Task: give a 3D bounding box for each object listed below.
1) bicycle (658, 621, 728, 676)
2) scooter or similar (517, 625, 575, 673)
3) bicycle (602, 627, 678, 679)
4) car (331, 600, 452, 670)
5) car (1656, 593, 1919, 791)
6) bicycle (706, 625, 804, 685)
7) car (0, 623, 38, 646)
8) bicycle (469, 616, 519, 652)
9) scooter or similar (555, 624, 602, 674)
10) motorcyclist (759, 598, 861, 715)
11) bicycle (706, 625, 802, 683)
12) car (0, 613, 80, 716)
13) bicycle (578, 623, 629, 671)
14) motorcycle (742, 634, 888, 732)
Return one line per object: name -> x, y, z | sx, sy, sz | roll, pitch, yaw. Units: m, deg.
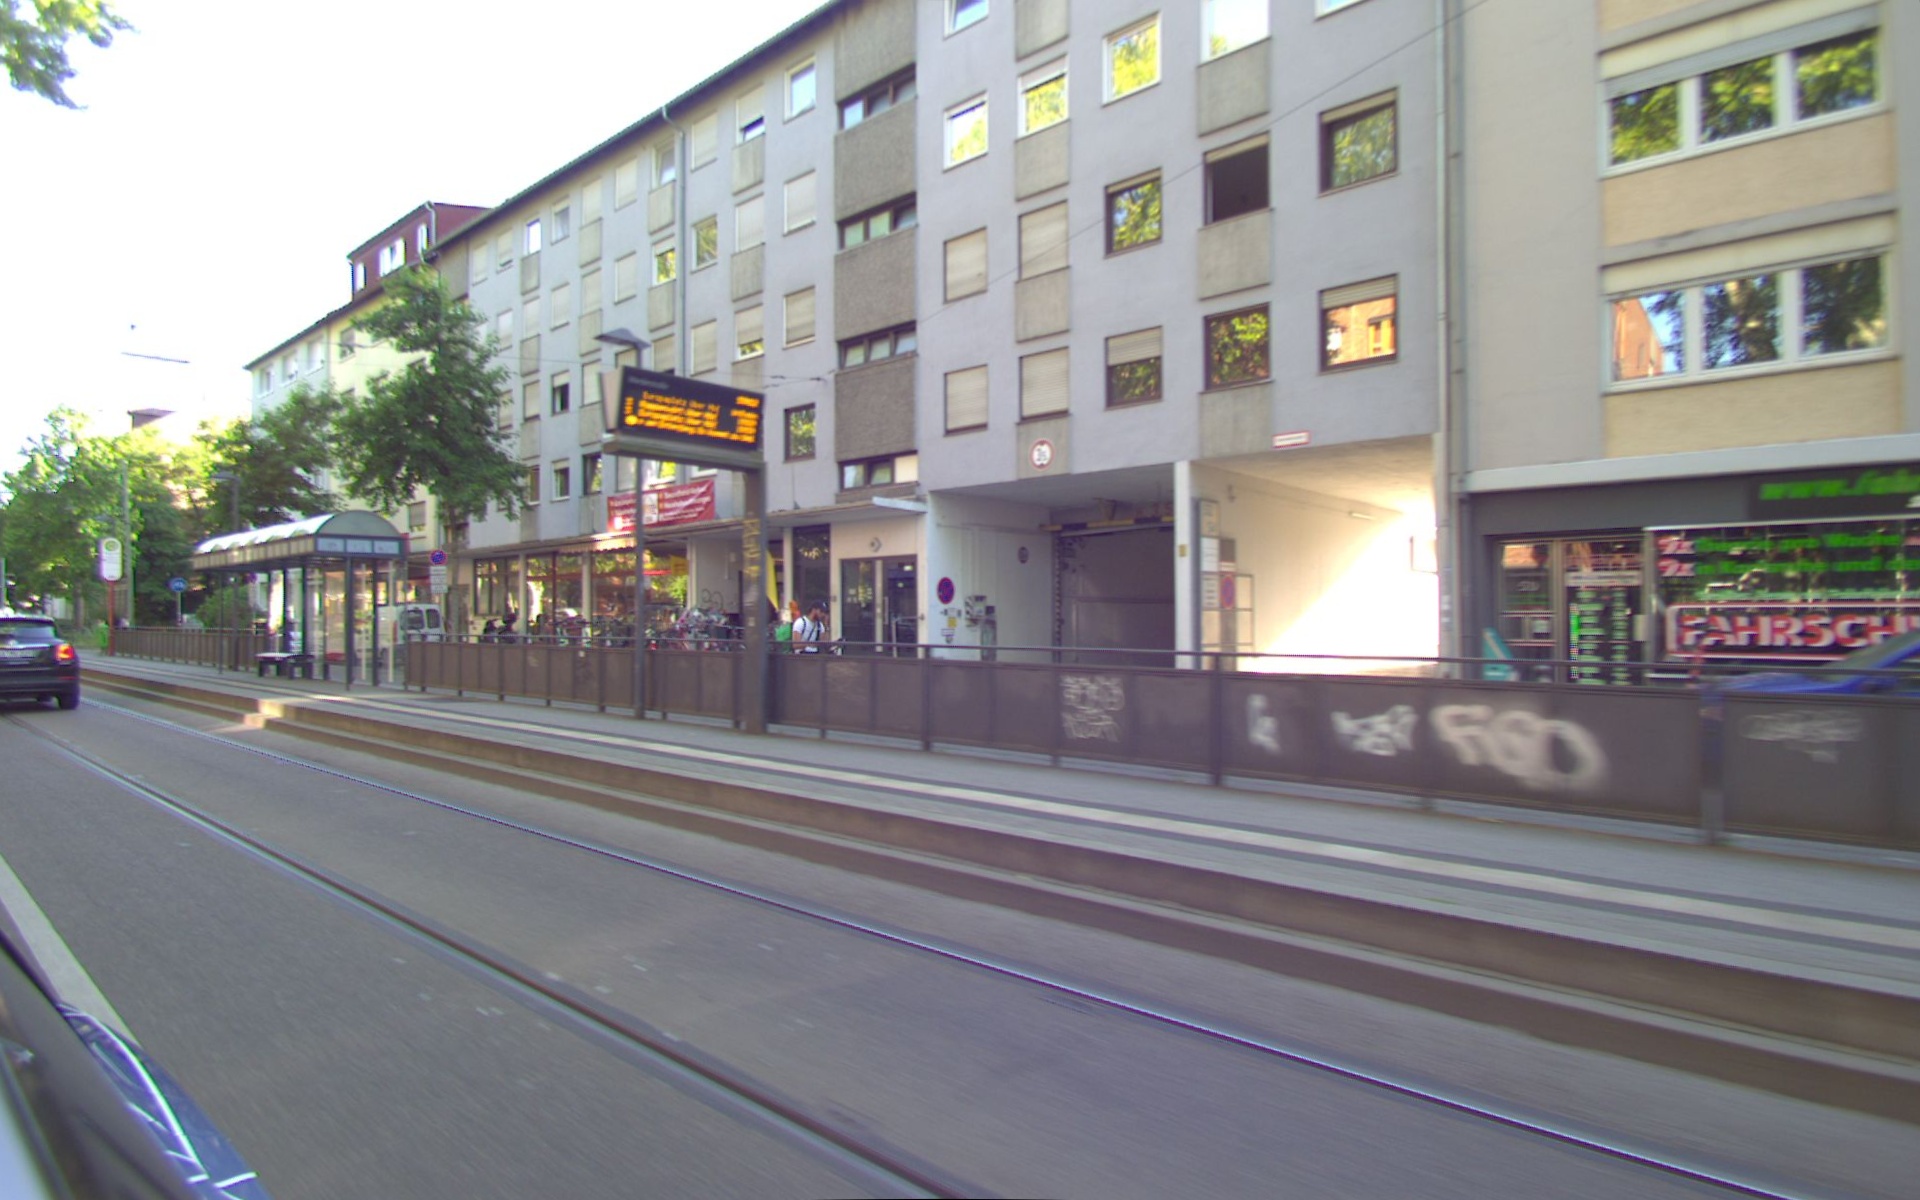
bicycle -> -5.875, 1.046, 22.256 | 1.748, 1.165, 0.488 | -1, -2, 36
scooter or similar -> -10.260, 1.214, 25.107 | 1.259, 1.183, 0.445 | 0, -2, 5
bicycle -> -7.415, 1.208, 23.417 | 2.033, 1.165, 0.565 | -1, -2, 36
car -> -16.932, 1.021, 30.086 | 4.046, 1.949, 1.785 | -1, -2, 40
car -> 8.110, 0.700, 7.865 | 4.280, 1.475, 1.776 | -1, -2, 41
bicycle -> -4.133, 1.095, 20.409 | 2.019, 1.165, 0.556 | -1, -2, 26
car -> -66.610, 2.432, 71.490 | 3.679, 1.541, 1.971 | -1, -2, 44
bicycle -> -15.574, 1.140, 33.787 | 2.033, 1.165, 0.565 | -1, -2, 36
scooter or similar -> -9.180, 1.159, 24.344 | 1.272, 1.183, 0.440 | -1, -2, 36
motorcyclist -> -1.955, 0.715, 13.200 | 1.015, 1.451, 0.864 | -1, -2, 40
bicycle -> -4.253, 1.095, 20.837 | 2.019, 1.165, 0.556 | -1, -2, 26
car -> -16.275, 1.032, 16.981 | 3.998, 1.601, 1.743 | -1, -2, 41
bicycle -> -8.966, 1.171, 25.448 | 1.688, 1.165, 0.506 | -2, -2, 44
motorcycle -> -1.906, 1.032, 13.167 | 1.914, 1.173, 0.840 | -1, -2, 41
